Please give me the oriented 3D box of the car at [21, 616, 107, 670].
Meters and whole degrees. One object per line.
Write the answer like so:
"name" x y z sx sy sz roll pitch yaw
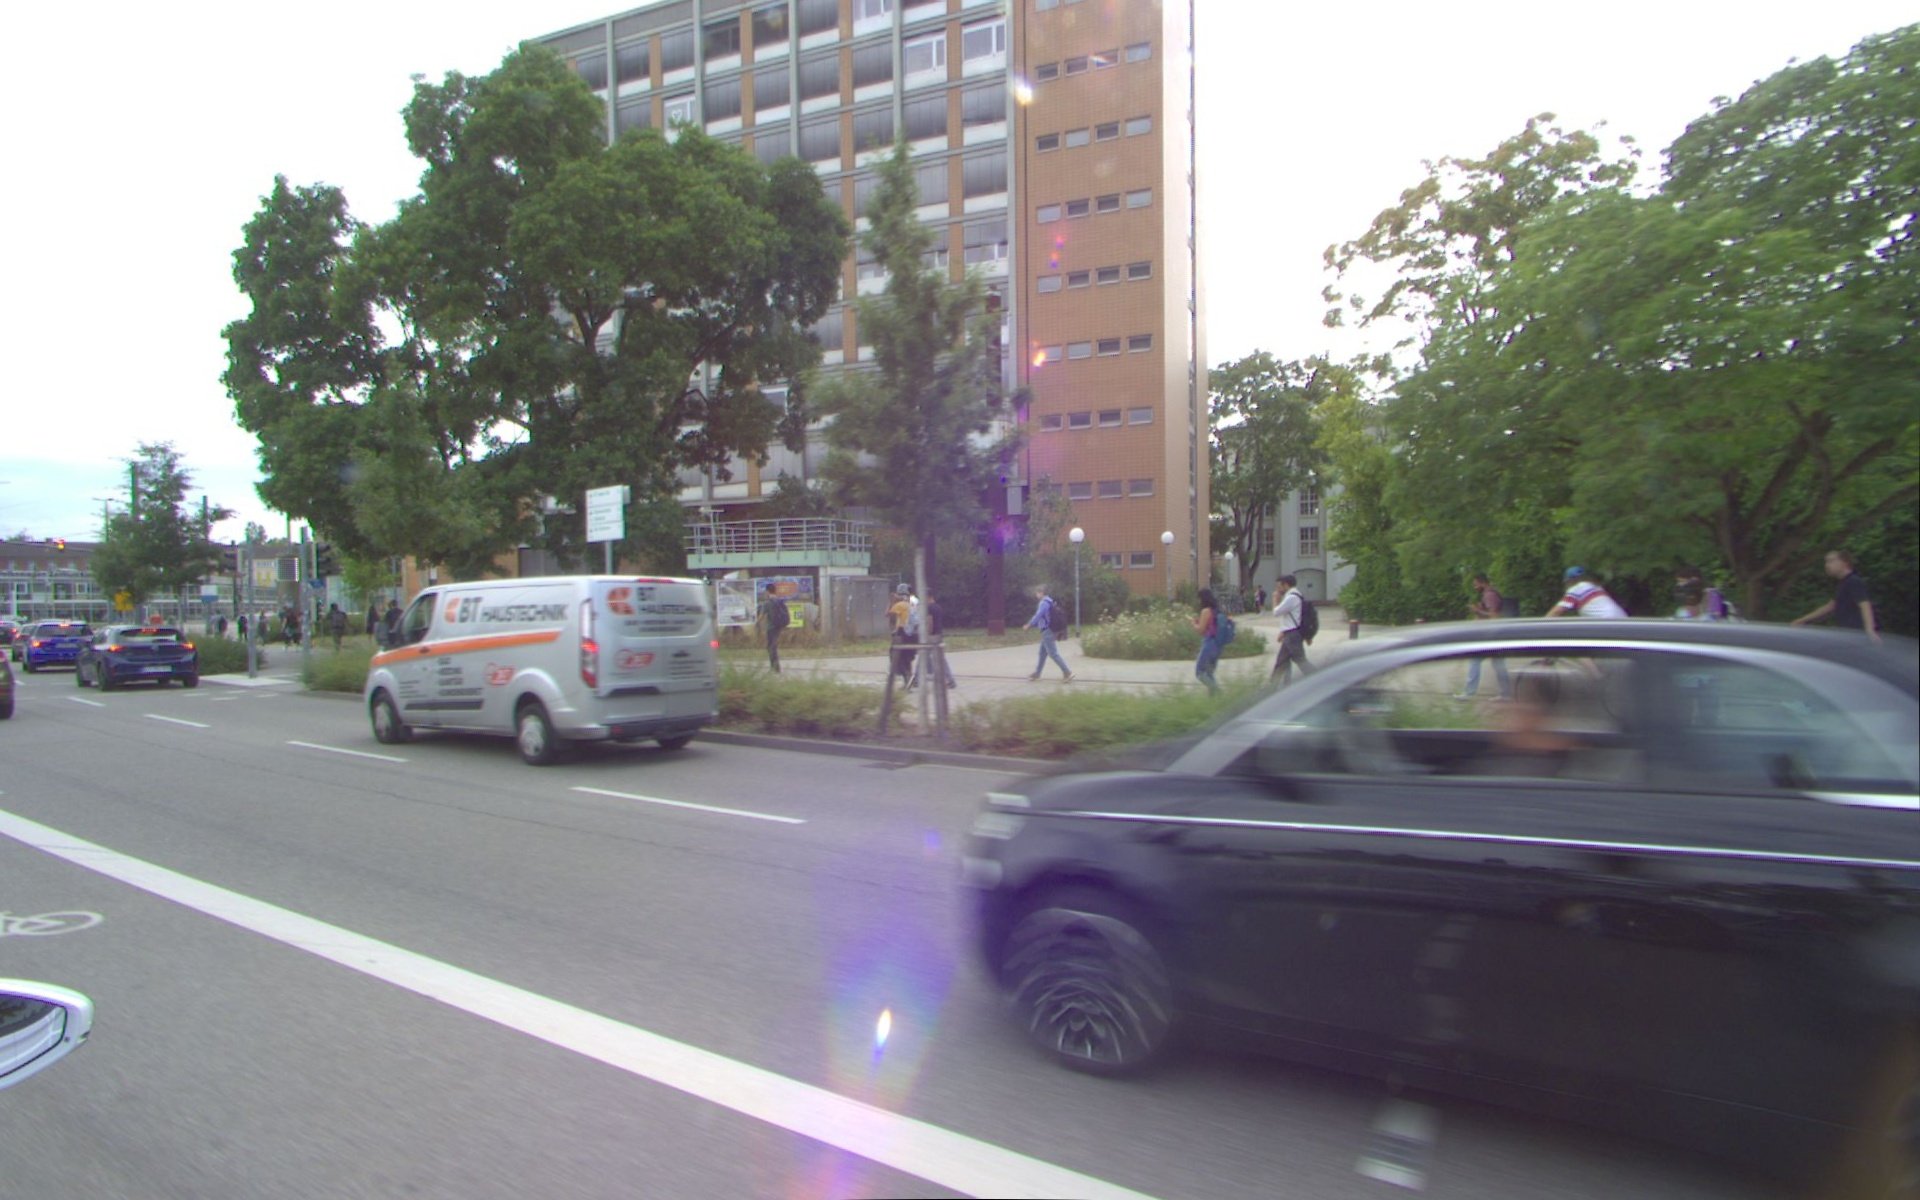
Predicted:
"car" -27.584 1.295 30.796 1.846 1.552 3.965 1 -2 -43

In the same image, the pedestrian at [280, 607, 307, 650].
"pedestrian" -25.602 1.070 38.461 0.770 1.595 0.806 -3 2 -37

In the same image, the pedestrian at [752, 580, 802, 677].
"pedestrian" -3.623 0.559 19.839 0.698 1.877 0.637 -1 1 30

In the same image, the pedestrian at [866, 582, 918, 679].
"pedestrian" -1.238 0.555 18.352 0.698 1.733 0.637 -1 0 30

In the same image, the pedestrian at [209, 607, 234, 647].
"pedestrian" -29.975 1.089 40.652 0.770 1.595 0.806 -3 2 -37

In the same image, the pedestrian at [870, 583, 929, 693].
"pedestrian" -0.980 0.600 16.261 0.698 1.734 0.637 -1 1 30

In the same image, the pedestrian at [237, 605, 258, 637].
"pedestrian" -36.253 1.064 50.945 0.770 1.595 0.806 -3 2 -37

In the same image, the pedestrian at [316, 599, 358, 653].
"pedestrian" -20.210 0.842 32.505 1.012 1.733 0.777 -1 -1 30

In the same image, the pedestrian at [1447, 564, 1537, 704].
"pedestrian" 6.896 0.440 12.973 0.998 1.733 0.836 -1 -1 30

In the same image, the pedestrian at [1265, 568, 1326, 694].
"pedestrian" 4.787 0.439 14.280 0.698 1.733 0.637 -1 -1 30

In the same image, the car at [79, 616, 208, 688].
"car" -18.835 1.168 23.051 3.591 1.527 1.659 -1 -2 40

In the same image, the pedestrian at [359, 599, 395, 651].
"pedestrian" -19.762 0.863 33.945 0.800 1.733 0.777 -1 -1 30

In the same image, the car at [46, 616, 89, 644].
"car" -48.657 1.632 54.556 1.692 1.438 3.666 1 -2 -43

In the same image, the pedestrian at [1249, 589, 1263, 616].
"pedestrian" 19.090 0.154 64.528 0.631 1.733 0.704 0 0 35

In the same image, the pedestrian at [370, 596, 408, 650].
"pedestrian" -18.440 0.746 32.331 0.800 1.733 0.777 -1 -1 30

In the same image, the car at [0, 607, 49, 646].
"car" -36.900 1.043 38.974 2.118 1.438 3.666 2 -2 -43

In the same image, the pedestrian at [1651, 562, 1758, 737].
"pedestrian" 7.743 0.508 10.453 0.788 1.733 0.836 -1 -1 30

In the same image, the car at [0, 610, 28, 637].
"car" -51.788 1.298 54.372 1.699 1.438 3.963 1 -2 -43

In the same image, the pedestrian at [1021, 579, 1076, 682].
"pedestrian" 1.524 0.512 17.251 0.698 1.734 0.636 -1 2 30

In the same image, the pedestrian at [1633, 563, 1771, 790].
"pedestrian" 6.038 0.604 8.202 0.828 1.733 0.796 -1 -1 32

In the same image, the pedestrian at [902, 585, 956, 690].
"pedestrian" -0.524 0.636 16.931 0.698 1.733 0.637 -1 -1 30

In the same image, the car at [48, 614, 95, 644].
"car" -44.100 1.428 49.664 1.692 1.438 3.666 1 -2 -43

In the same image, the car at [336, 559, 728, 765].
"car" -5.209 0.671 11.877 5.134 1.984 1.815 -1 -2 34

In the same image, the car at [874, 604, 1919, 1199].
"car" 1.558 0.794 3.446 3.392 1.509 1.663 -1 -1 32

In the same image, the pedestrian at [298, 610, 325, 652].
"pedestrian" -25.646 1.210 39.596 0.770 1.595 0.806 -3 2 -37

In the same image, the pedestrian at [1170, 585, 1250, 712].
"pedestrian" 3.279 0.613 13.092 0.788 1.564 0.835 -1 3 30

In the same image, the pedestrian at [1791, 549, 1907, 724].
"pedestrian" 9.800 0.401 11.076 0.788 1.831 0.836 -1 -1 30

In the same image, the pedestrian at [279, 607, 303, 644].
"pedestrian" -29.320 1.098 43.880 0.770 1.595 0.806 -3 2 -37

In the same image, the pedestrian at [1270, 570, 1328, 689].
"pedestrian" 5.063 0.440 14.939 0.698 1.733 0.637 -1 -1 30

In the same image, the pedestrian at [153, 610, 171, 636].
"pedestrian" -50.132 1.424 62.894 0.770 1.595 0.806 -3 2 -37

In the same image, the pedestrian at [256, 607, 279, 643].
"pedestrian" -31.515 1.114 45.573 0.770 1.595 0.806 -3 2 -37

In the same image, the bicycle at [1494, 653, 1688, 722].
"bicycle" 7.277 0.980 11.585 1.822 0.702 0.838 -1 -2 39

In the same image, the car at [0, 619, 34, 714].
"car" -16.179 1.019 15.527 3.645 1.422 1.693 -1 -2 31

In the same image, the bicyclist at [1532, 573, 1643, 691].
"bicyclist" 7.261 0.367 11.595 1.001 1.293 0.834 -1 -1 39

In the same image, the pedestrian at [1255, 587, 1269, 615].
"pedestrian" 19.098 0.049 63.353 0.631 1.733 0.704 0 0 35

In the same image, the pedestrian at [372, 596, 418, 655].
"pedestrian" -16.663 0.756 29.546 1.012 1.733 0.777 -1 -1 30
